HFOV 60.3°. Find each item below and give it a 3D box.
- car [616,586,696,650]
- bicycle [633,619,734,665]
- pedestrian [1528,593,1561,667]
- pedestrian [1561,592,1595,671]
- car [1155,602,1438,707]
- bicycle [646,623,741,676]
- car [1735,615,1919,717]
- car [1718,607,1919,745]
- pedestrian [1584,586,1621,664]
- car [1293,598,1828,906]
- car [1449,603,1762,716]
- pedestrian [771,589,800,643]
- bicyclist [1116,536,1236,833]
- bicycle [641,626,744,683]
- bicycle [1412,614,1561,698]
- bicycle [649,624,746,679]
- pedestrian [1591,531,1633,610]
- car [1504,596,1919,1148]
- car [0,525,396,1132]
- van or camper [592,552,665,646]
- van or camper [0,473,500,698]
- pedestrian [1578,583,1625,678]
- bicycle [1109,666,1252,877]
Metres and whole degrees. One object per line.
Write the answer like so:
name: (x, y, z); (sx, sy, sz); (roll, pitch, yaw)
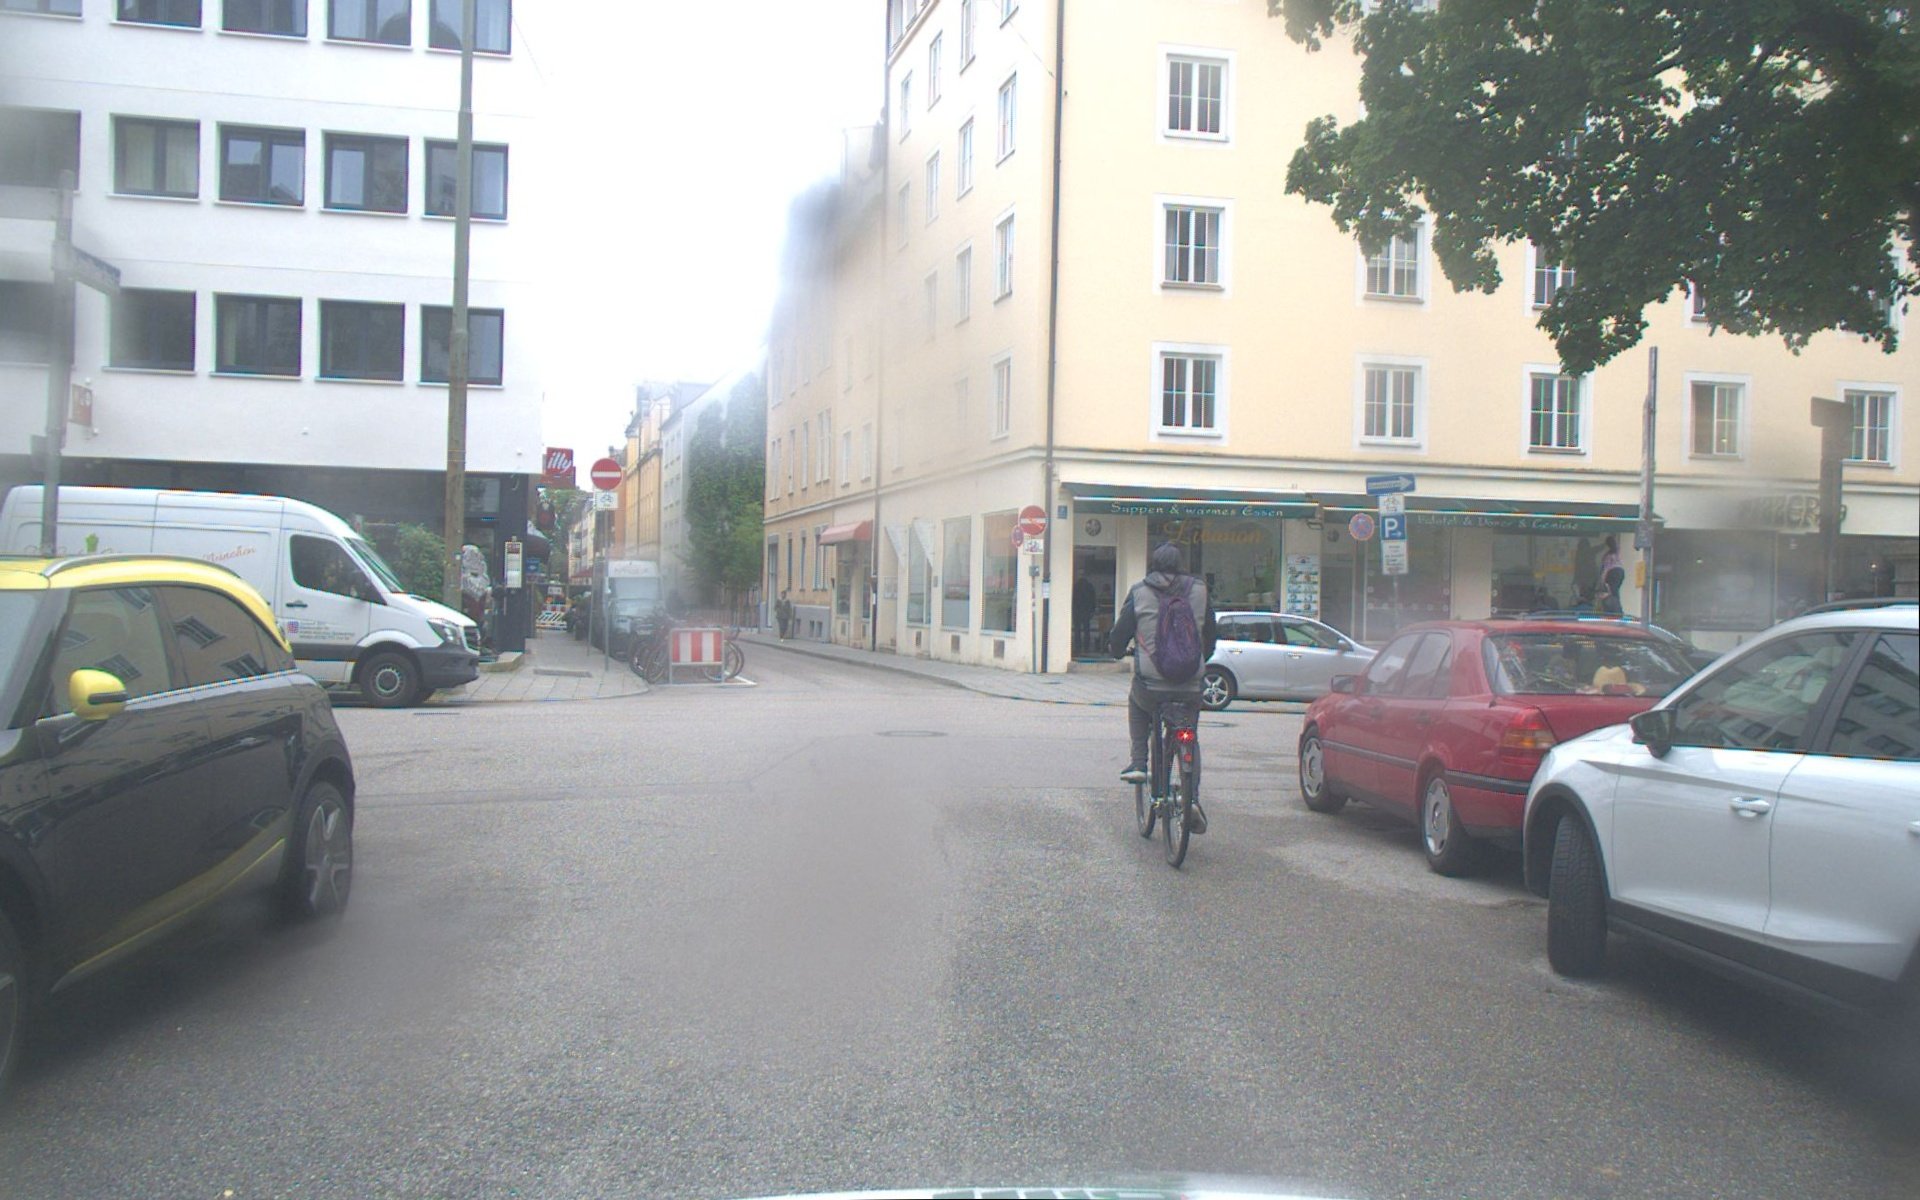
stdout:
car: (-7.942, 0.428, 42.984); (1.801, 1.562, 3.986); (1, 0, -14)
bicycle: (-5.407, 0.817, 32.339); (1.881, 0.878, 0.615); (1, 0, -19)
pedestrian: (11.651, 0.590, 32.975); (0.502, 1.458, 0.582); (1, 0, 29)
pedestrian: (12.472, 0.628, 33.380); (0.546, 1.564, 0.433); (2, 2, 31)
car: (5.043, 0.848, 25.130); (3.906, 1.441, 1.820); (1, -3, -1)
bicycle: (-5.039, 0.935, 31.282); (1.709, 0.985, 0.540); (1, 0, -18)
car: (14.788, 1.067, 26.311); (4.260, 1.529, 1.815); (2, -2, -13)
car: (11.043, 0.887, 19.752); (3.260, 1.513, 1.624); (1, 1, -10)
pedestrian: (13.143, 0.497, 33.831); (0.428, 1.578, 0.530); (1, 0, -30)
car: (3.427, 0.760, 10.354); (1.636, 1.460, 4.211); (2, 0, -3)
car: (10.003, 0.924, 25.725); (4.260, 1.620, 1.815); (2, -2, -13)
pedestrian: (-5.950, 0.532, 56.319); (0.862, 1.809, 0.771); (1, 0, -14)
bicyclist: (1.230, 0.464, 9.532); (0.593, 1.634, 0.758); (1, 1, 2)
bicycle: (-4.733, 0.964, 29.302); (1.727, 0.985, 0.592); (1, 0, -18)
bicycle: (8.719, 0.921, 27.429); (2.045, 1.275, 1.104); (2, 1, -11)
bicycle: (-4.868, 0.948, 30.680); (1.709, 0.985, 0.540); (1, 0, -18)
pedestrian: (13.588, -0.612, 34.481); (0.542, 1.602, 0.576); (3, 0, -12)
car: (3.461, 0.776, 5.478); (1.716, 1.522, 3.905); (1, 0, -5)
car: (-3.424, 0.625, 5.693); (1.642, 1.625, 3.944); (-1, 0, -1)
van or camper: (-9.758, -0.038, 48.444); (1.959, 2.584, 4.745); (1, 0, -13)
van or camper: (-9.076, -0.124, 21.429); (5.798, 2.724, 1.868); (1, -2, -11)
pedestrian: (11.937, 0.556, 30.782); (0.591, 1.731, 0.542); (1, 2, -11)
bicycle: (1.224, 0.929, 9.440); (0.626, 1.022, 1.574); (1, 0, 1)
